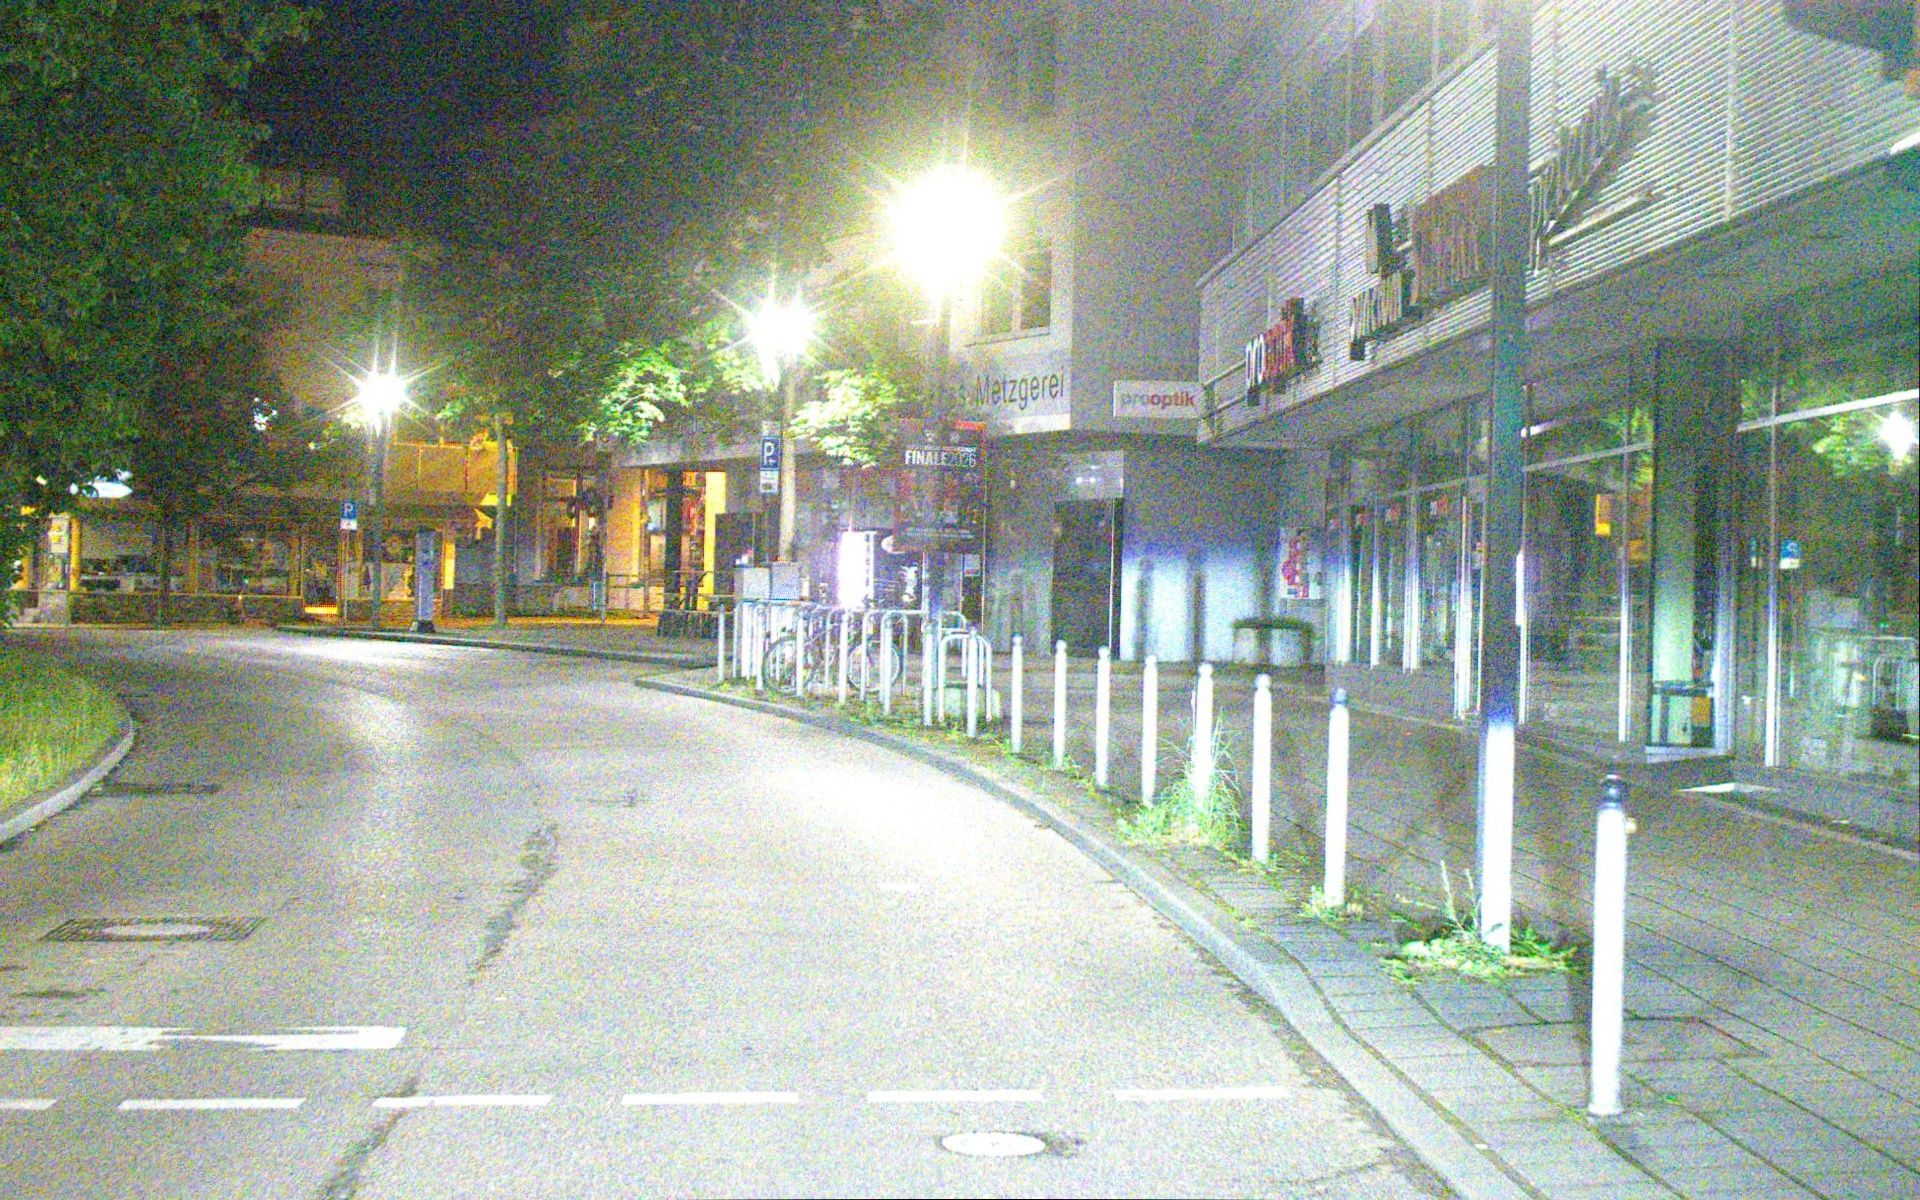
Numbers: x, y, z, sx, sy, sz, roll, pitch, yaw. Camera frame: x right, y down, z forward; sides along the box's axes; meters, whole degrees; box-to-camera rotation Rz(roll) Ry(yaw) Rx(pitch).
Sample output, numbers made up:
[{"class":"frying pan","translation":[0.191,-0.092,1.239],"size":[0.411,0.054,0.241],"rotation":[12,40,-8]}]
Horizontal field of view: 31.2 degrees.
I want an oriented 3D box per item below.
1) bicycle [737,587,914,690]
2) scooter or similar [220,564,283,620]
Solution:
[{"class":"bicycle","translation":[-1.434,0.417,36.786],"size":[1.749,1.059,0.656],"rotation":[1,1,-26]},{"class":"scooter or similar","translation":[-16.264,-0.192,78.949],"size":[1.246,1.223,0.598],"rotation":[2,1,-29]}]
